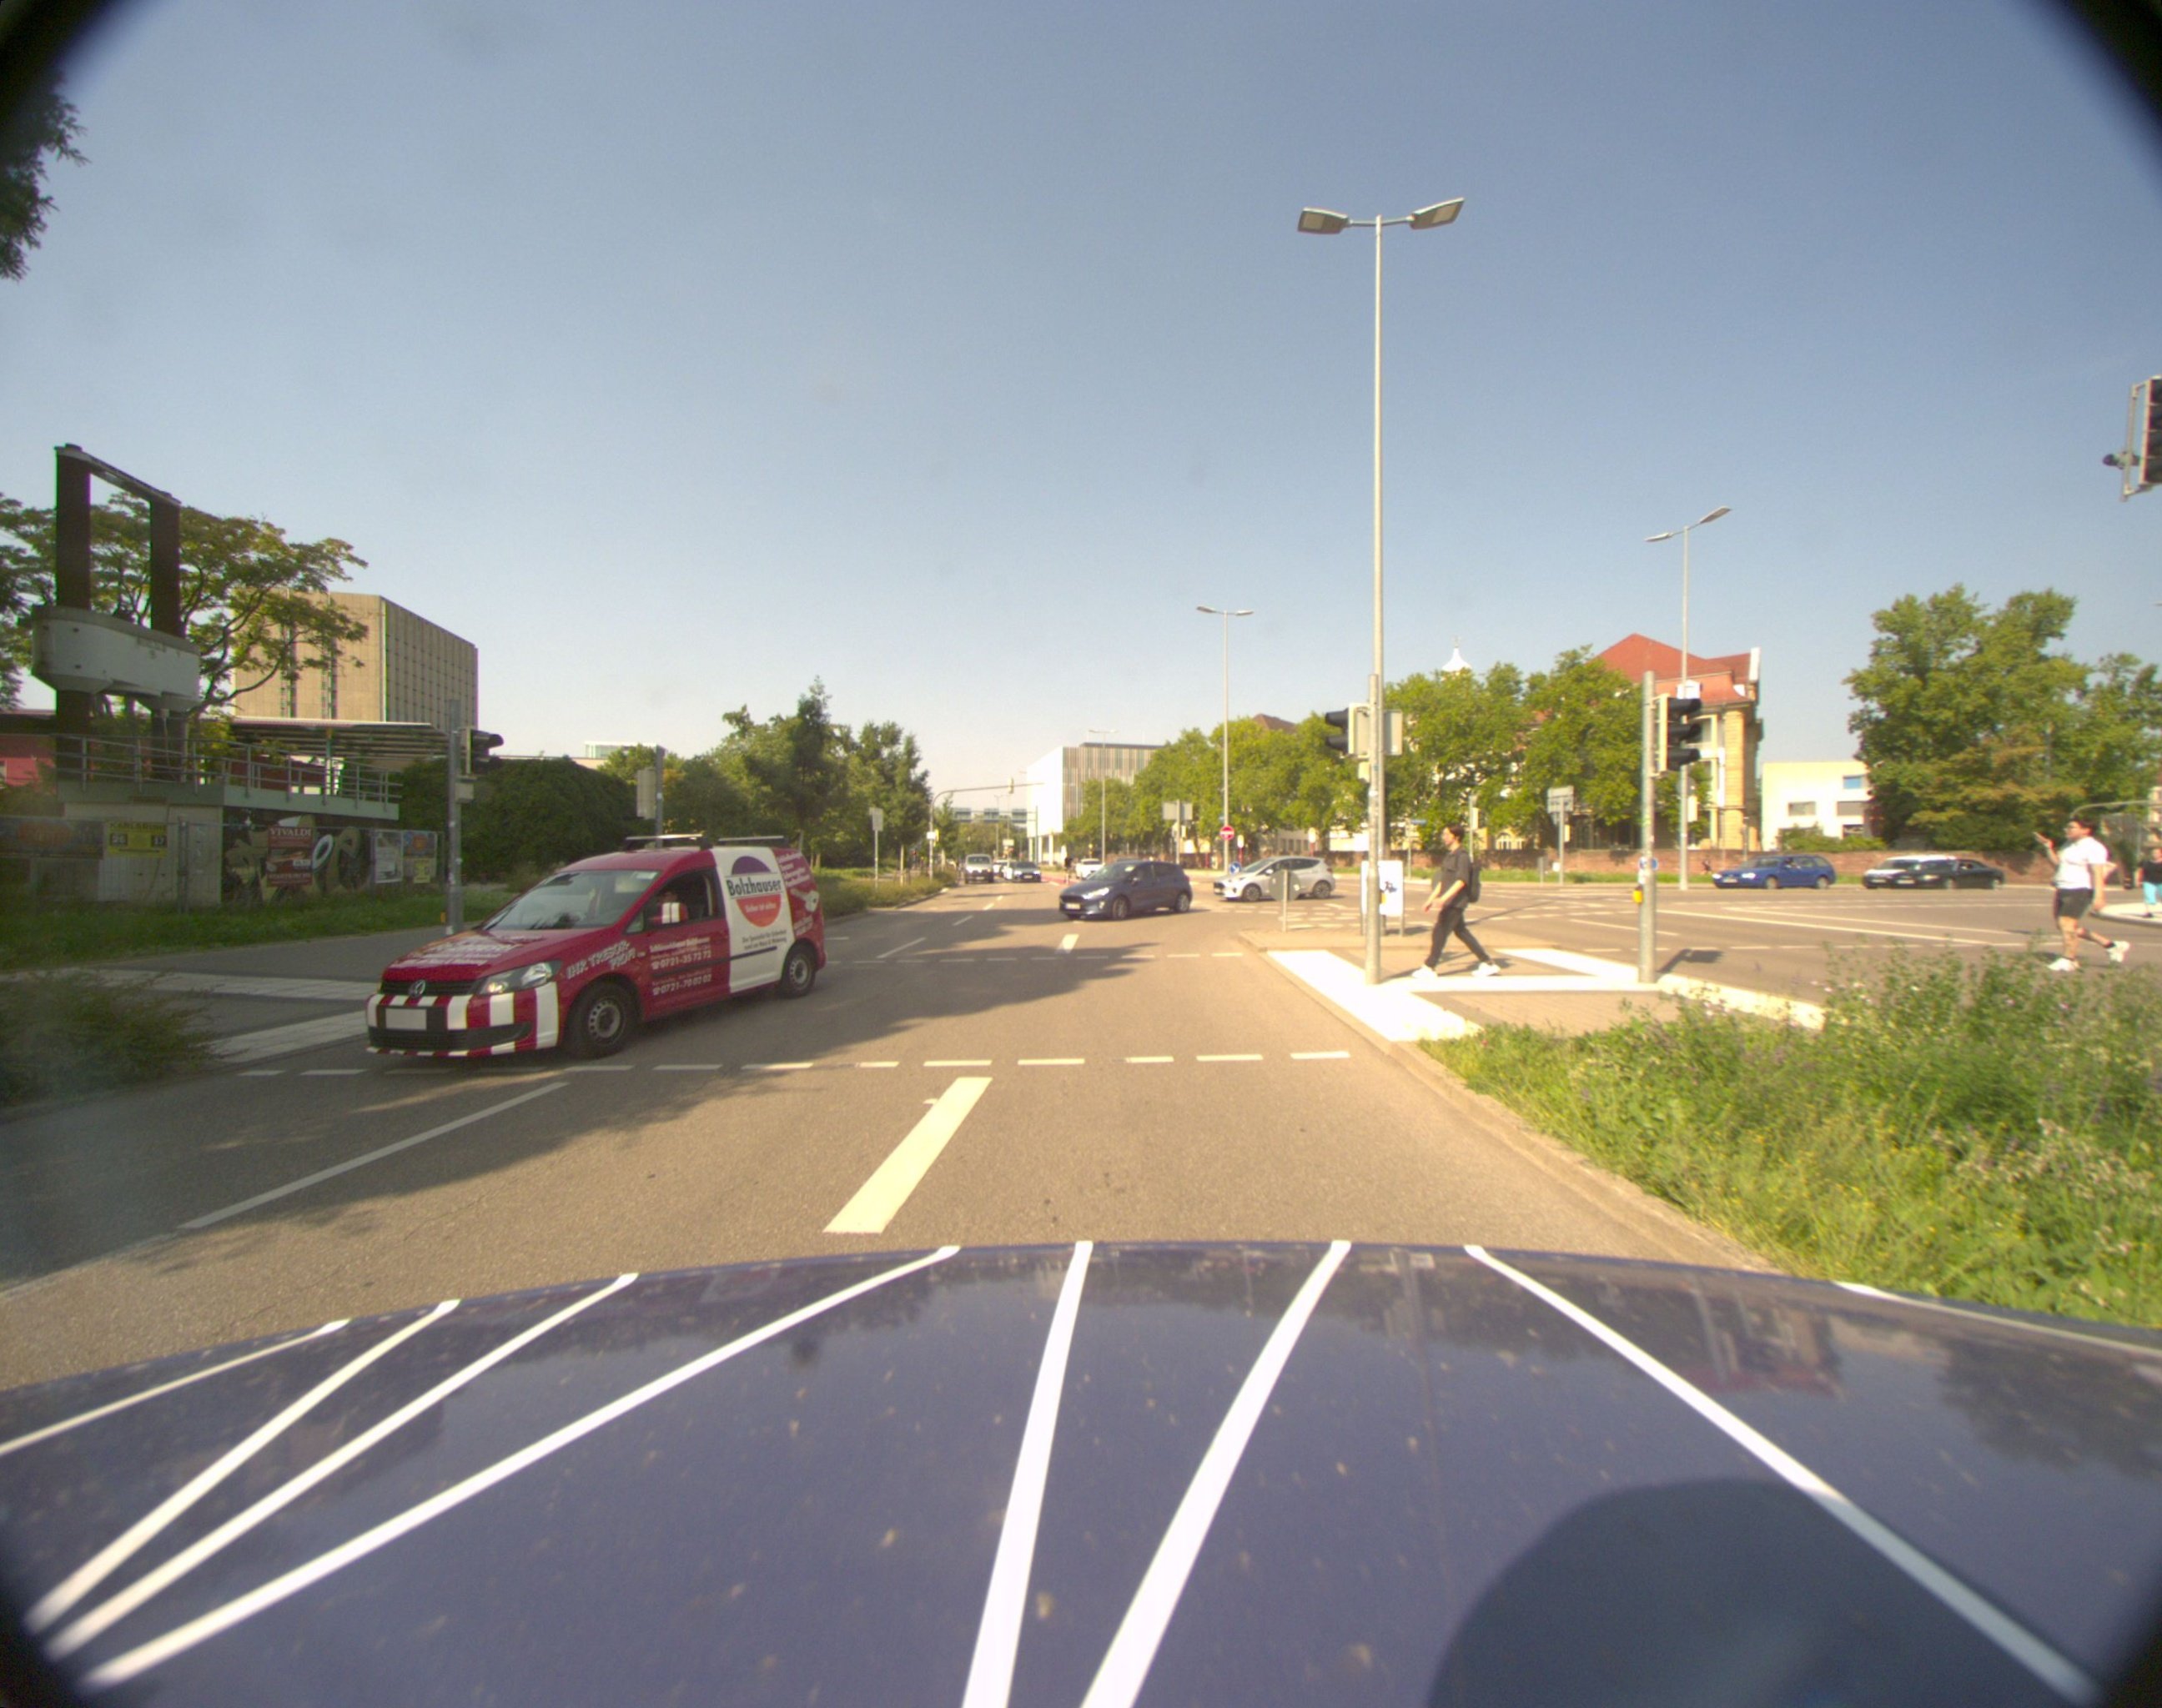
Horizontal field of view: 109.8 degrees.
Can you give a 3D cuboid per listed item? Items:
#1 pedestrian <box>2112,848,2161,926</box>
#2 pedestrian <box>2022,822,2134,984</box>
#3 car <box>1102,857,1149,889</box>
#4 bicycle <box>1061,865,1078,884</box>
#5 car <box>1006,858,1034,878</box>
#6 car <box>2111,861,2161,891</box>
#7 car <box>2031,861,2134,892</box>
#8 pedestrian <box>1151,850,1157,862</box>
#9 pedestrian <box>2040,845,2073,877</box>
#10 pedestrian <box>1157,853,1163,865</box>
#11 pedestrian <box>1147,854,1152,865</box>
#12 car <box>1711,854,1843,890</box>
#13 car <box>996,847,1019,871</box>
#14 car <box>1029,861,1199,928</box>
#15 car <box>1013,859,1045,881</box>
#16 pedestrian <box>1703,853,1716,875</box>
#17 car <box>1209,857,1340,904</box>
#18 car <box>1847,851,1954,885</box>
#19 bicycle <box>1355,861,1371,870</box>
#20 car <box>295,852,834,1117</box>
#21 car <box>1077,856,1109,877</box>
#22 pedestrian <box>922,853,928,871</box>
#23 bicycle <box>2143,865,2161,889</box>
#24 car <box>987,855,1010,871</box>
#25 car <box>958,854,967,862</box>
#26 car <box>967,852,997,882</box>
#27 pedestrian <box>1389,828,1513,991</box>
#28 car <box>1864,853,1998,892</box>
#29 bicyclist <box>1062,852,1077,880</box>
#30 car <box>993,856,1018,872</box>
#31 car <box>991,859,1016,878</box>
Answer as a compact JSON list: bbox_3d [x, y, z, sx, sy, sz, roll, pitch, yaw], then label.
[{"bbox_3d":[21.880,0.664,15.588,0.668,1.556,0.752,0,2,-30],"label":"pedestrian"},{"bbox_3d":[11.687,0.557,8.919,0.695,1.822,0.570,0,0,-14],"label":"pedestrian"},{"bbox_3d":[2.310,0.956,40.663,1.853,1.569,4.712,0,0,-5],"label":"car"},{"bbox_3d":[-0.707,1.192,44.786,0.770,1.046,1.773,0,0,-9],"label":"bicycle"},{"bbox_3d":[-4.744,1.027,58.168,2.000,1.497,4.432,0,0,-6],"label":"car"},{"bbox_3d":[61.887,1.267,43.532,4.000,1.667,1.756,0,-2,-9],"label":"car"},{"bbox_3d":[56.017,1.253,42.535,4.000,1.667,1.756,0,-2,-9],"label":"car"},{"bbox_3d":[10.048,0.227,104.160,0.520,1.641,0.593,1,-2,-30],"label":"pedestrian"},{"bbox_3d":[61.980,0.450,48.282,0.907,2.001,0.822,0,-2,2],"label":"pedestrian"},{"bbox_3d":[10.854,0.703,104.633,0.484,1.641,0.593,1,-2,-30],"label":"pedestrian"},{"bbox_3d":[9.523,0.734,106.176,0.536,1.562,0.501,0,1,-32],"label":"pedestrian"},{"bbox_3d":[26.829,0.653,29.318,4.335,1.321,1.606,0,0,-14],"label":"car"},{"bbox_3d":[-6.498,0.475,67.227,1.749,2.001,3.748,0,-2,-10],"label":"car"},{"bbox_3d":[0.926,0.951,19.386,4.330,1.419,1.636,-1,1,-40],"label":"car"},{"bbox_3d":[-3.536,1.039,51.156,1.911,1.392,4.917,0,0,-6],"label":"car"},{"bbox_3d":[47.437,0.742,57.324,0.596,1.673,0.716,0,0,-44],"label":"pedestrian"},{"bbox_3d":[6.409,0.852,25.324,3.861,1.425,1.719,-1,0,-12],"label":"car"},{"bbox_3d":[41.579,0.739,38.586,4.000,1.667,1.756,0,-2,-9],"label":"car"},{"bbox_3d":[28.741,1.154,77.514,0.435,0.830,1.546,0,0,-37],"label":"bicycle"},{"bbox_3d":[-4.430,0.912,7.493,1.734,1.808,4.282,-1,0,14],"label":"car"},{"bbox_3d":[0.835,0.887,55.065,1.715,1.428,3.862,0,0,-8],"label":"car"},{"bbox_3d":[-16.612,0.843,81.138,0.624,1.834,0.640,0,1,-11],"label":"pedestrian"},{"bbox_3d":[56.666,1.187,39.173,3.078,1.197,0.887,0,-2,-9],"label":"bicycle"},{"bbox_3d":[-8.924,0.946,82.118,1.933,1.650,4.290,0,0,-13],"label":"car"},{"bbox_3d":[-26.953,0.922,172.109,1.832,1.674,3.996,0,0,-12],"label":"car"},{"bbox_3d":[-6.544,0.826,50.529,1.847,1.864,4.970,0,0,-6],"label":"car"},{"bbox_3d":[4.365,0.642,9.033,1.081,1.829,0.730,-2,0,7],"label":"pedestrian"},{"bbox_3d":[35.141,0.724,31.466,4.001,1.543,1.998,0,0,-13],"label":"car"},{"bbox_3d":[-0.698,0.681,44.749,0.749,1.626,0.875,0,0,-9],"label":"bicyclist"},{"bbox_3d":[-7.531,1.000,75.792,1.933,1.497,4.290,0,0,-13],"label":"car"},{"bbox_3d":[-6.467,1.158,63.330,2.000,1.497,4.432,0,0,-6],"label":"car"}]
